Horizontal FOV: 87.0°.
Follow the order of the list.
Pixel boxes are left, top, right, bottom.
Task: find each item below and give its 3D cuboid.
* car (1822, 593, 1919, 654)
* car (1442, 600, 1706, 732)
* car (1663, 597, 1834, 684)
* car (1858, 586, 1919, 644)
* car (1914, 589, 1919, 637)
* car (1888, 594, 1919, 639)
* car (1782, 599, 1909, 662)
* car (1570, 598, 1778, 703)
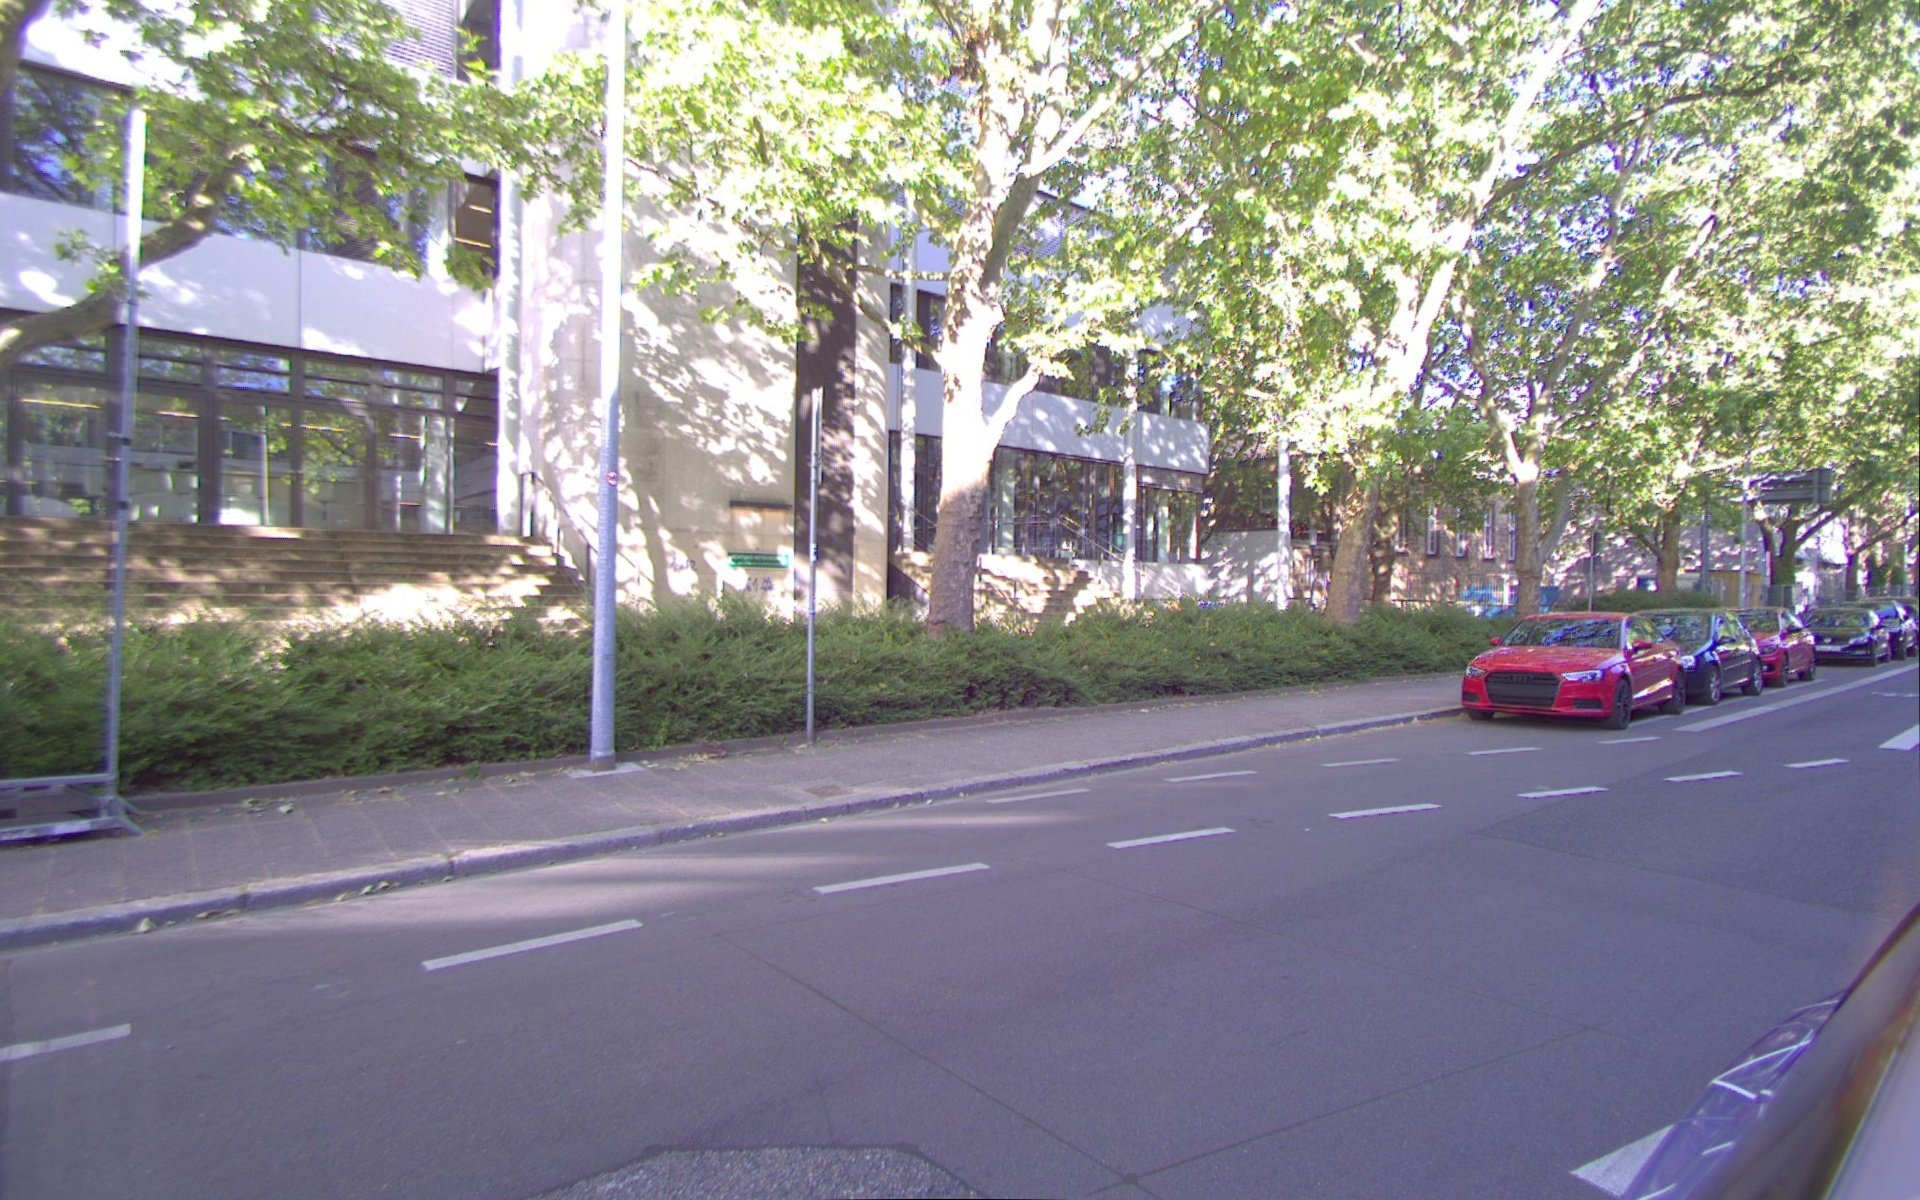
[{"bbox_3d":[26.543,0.609,29.181,4.070,1.621,1.997,-1,0,-41],"label":"car"},{"bbox_3d":[8.276,0.752,13.524,3.930,1.443,1.906,-1,1,-41],"label":"car"},{"bbox_3d":[15.665,0.718,20.052,3.762,1.517,1.997,-1,0,-41],"label":"car"},{"bbox_3d":[31.283,0.450,33.310,4.493,1.809,1.997,-1,0,-41],"label":"car"},{"bbox_3d":[39.644,0.485,40.306,3.930,1.872,1.997,-1,0,-41],"label":"car"},{"bbox_3d":[35.989,0.568,37.447,4.070,1.585,1.997,-1,0,-41],"label":"car"},{"bbox_3d":[22.819,0.723,26.061,3.527,1.474,1.997,-1,0,-41],"label":"car"},{"bbox_3d":[11.780,0.729,16.636,3.581,1.478,1.997,-1,0,-41],"label":"car"}]
